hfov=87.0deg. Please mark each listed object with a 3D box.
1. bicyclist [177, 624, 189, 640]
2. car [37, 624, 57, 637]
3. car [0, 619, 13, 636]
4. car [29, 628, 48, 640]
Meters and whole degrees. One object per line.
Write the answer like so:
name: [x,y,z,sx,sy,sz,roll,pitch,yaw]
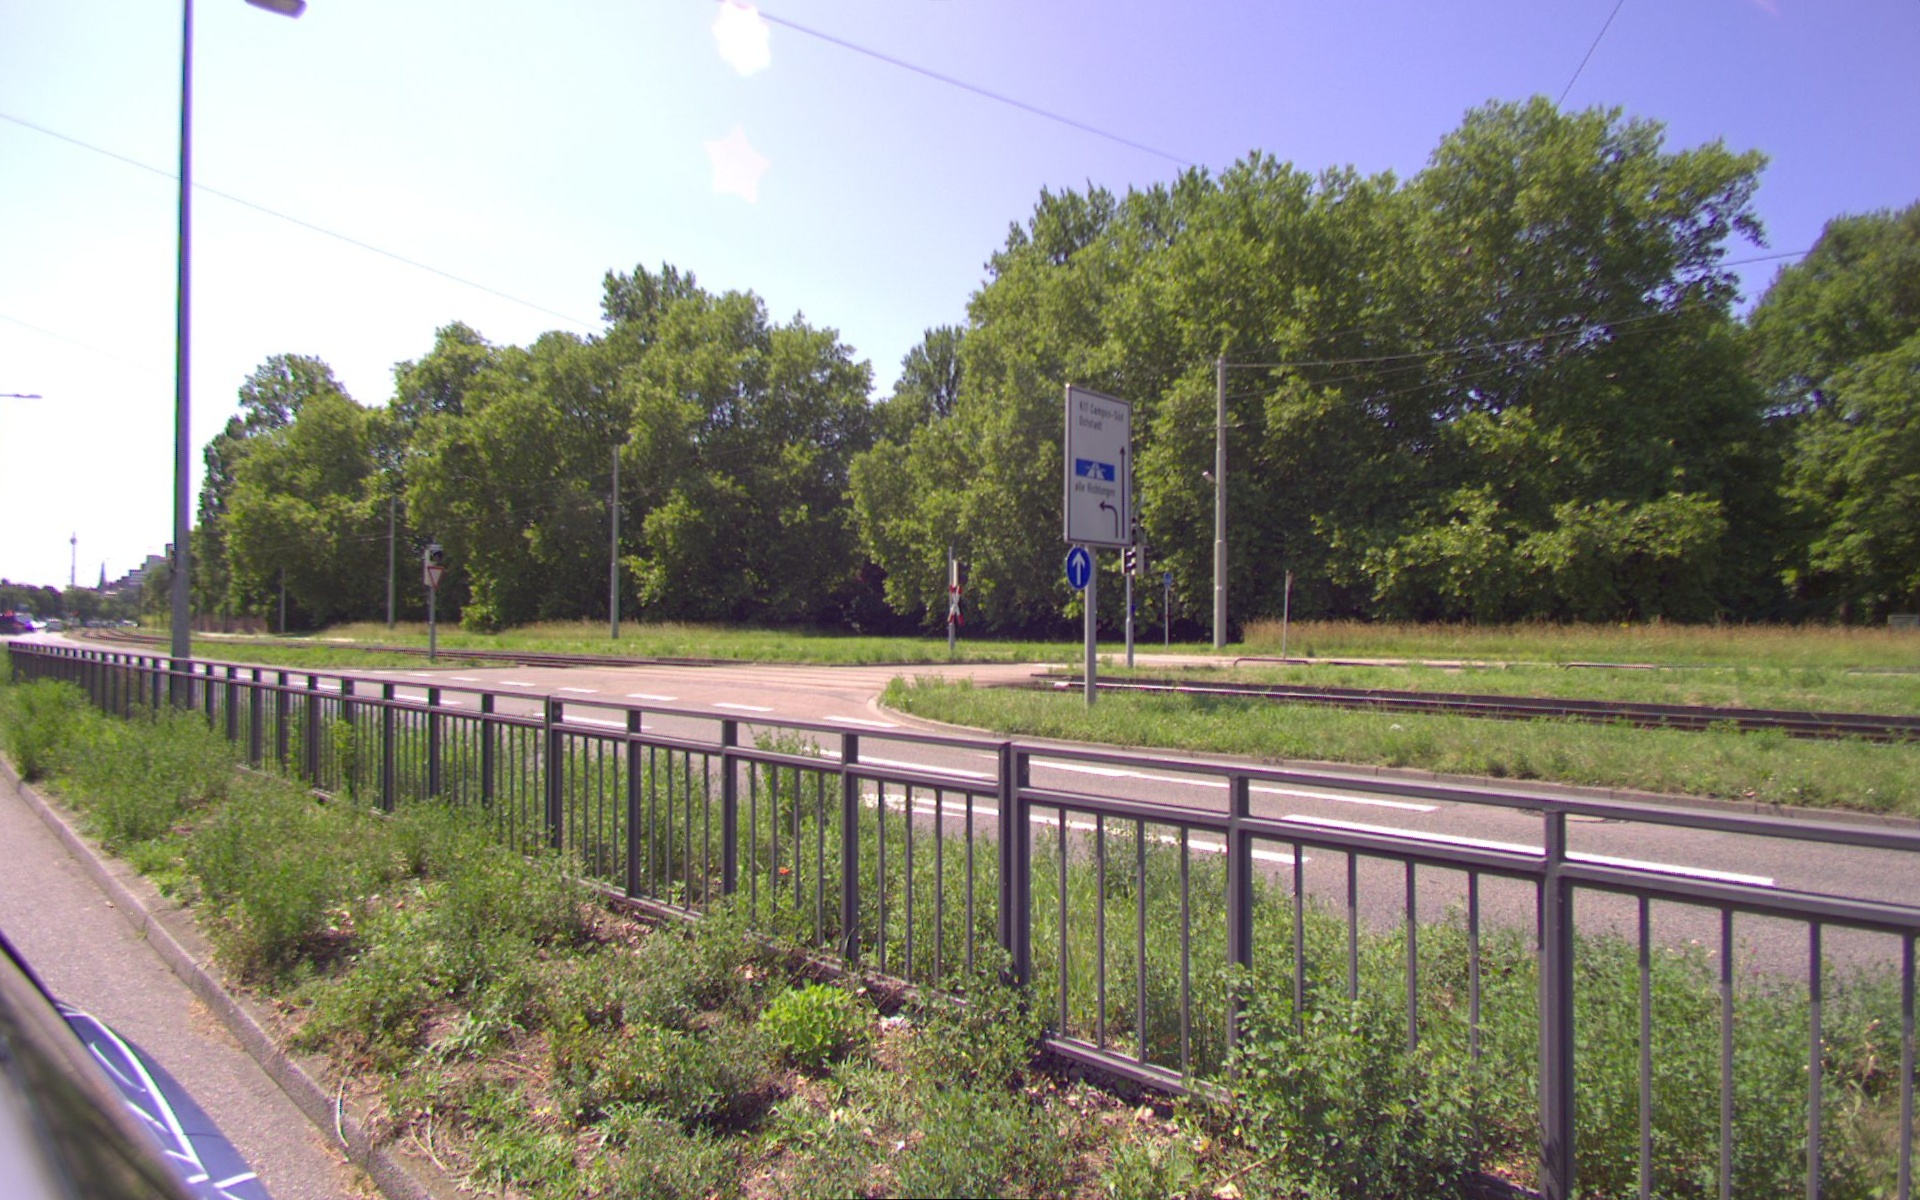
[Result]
bicyclist: [-86.611,3.569,112.792,1.117,1.820,0.851,-1,-2,41]
car: [-136.831,4.513,151.658,1.970,1.871,4.003,1,-2,-44]
car: [-107.615,3.043,113.492,1.970,1.871,4.004,1,-2,-43]
car: [-141.773,5.250,155.638,1.970,1.871,4.003,1,-2,-44]
